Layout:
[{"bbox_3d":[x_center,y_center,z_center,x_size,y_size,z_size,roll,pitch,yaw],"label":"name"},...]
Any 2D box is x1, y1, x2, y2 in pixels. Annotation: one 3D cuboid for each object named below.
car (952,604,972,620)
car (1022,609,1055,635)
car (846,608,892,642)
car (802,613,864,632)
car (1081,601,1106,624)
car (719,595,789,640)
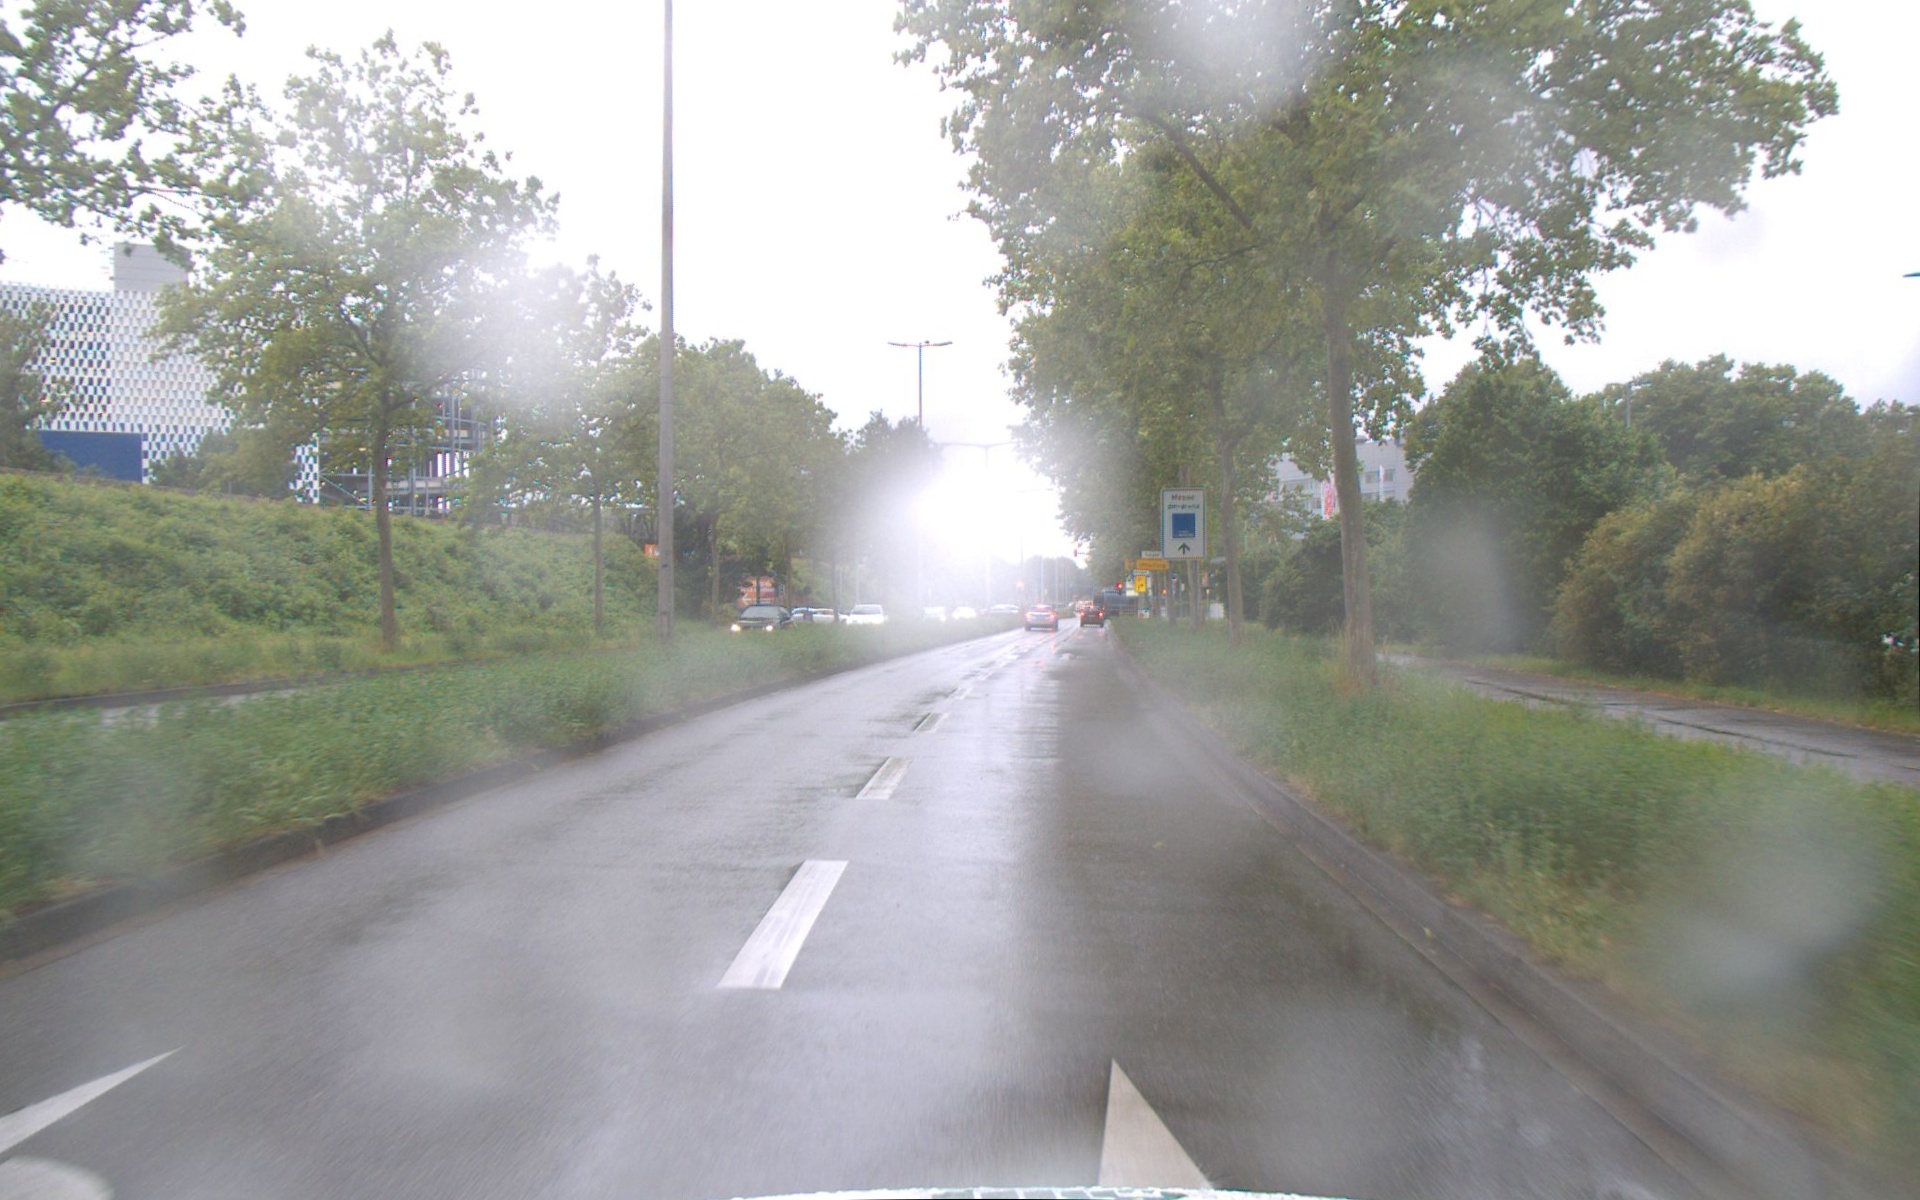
[{"bbox_3d":[0.211,1.207,169.266,1.676,1.557,4.002,-1,0,5],"label":"car"},{"bbox_3d":[4.557,1.270,95.565,1.654,1.458,4.577,0,-1,5],"label":"car"},{"bbox_3d":[-4.332,1.171,79.056,1.666,1.521,4.207,0,0,4],"label":"car"},{"bbox_3d":[-9.642,1.709,126.084,4.547,1.470,1.937,0,0,-1],"label":"car"},{"bbox_3d":[9.834,0.924,121.395,1.758,1.564,4.390,1,0,5],"label":"car"},{"bbox_3d":[-6.877,0.558,55.584,1.597,1.451,4.002,0,0,4],"label":"car"}]
